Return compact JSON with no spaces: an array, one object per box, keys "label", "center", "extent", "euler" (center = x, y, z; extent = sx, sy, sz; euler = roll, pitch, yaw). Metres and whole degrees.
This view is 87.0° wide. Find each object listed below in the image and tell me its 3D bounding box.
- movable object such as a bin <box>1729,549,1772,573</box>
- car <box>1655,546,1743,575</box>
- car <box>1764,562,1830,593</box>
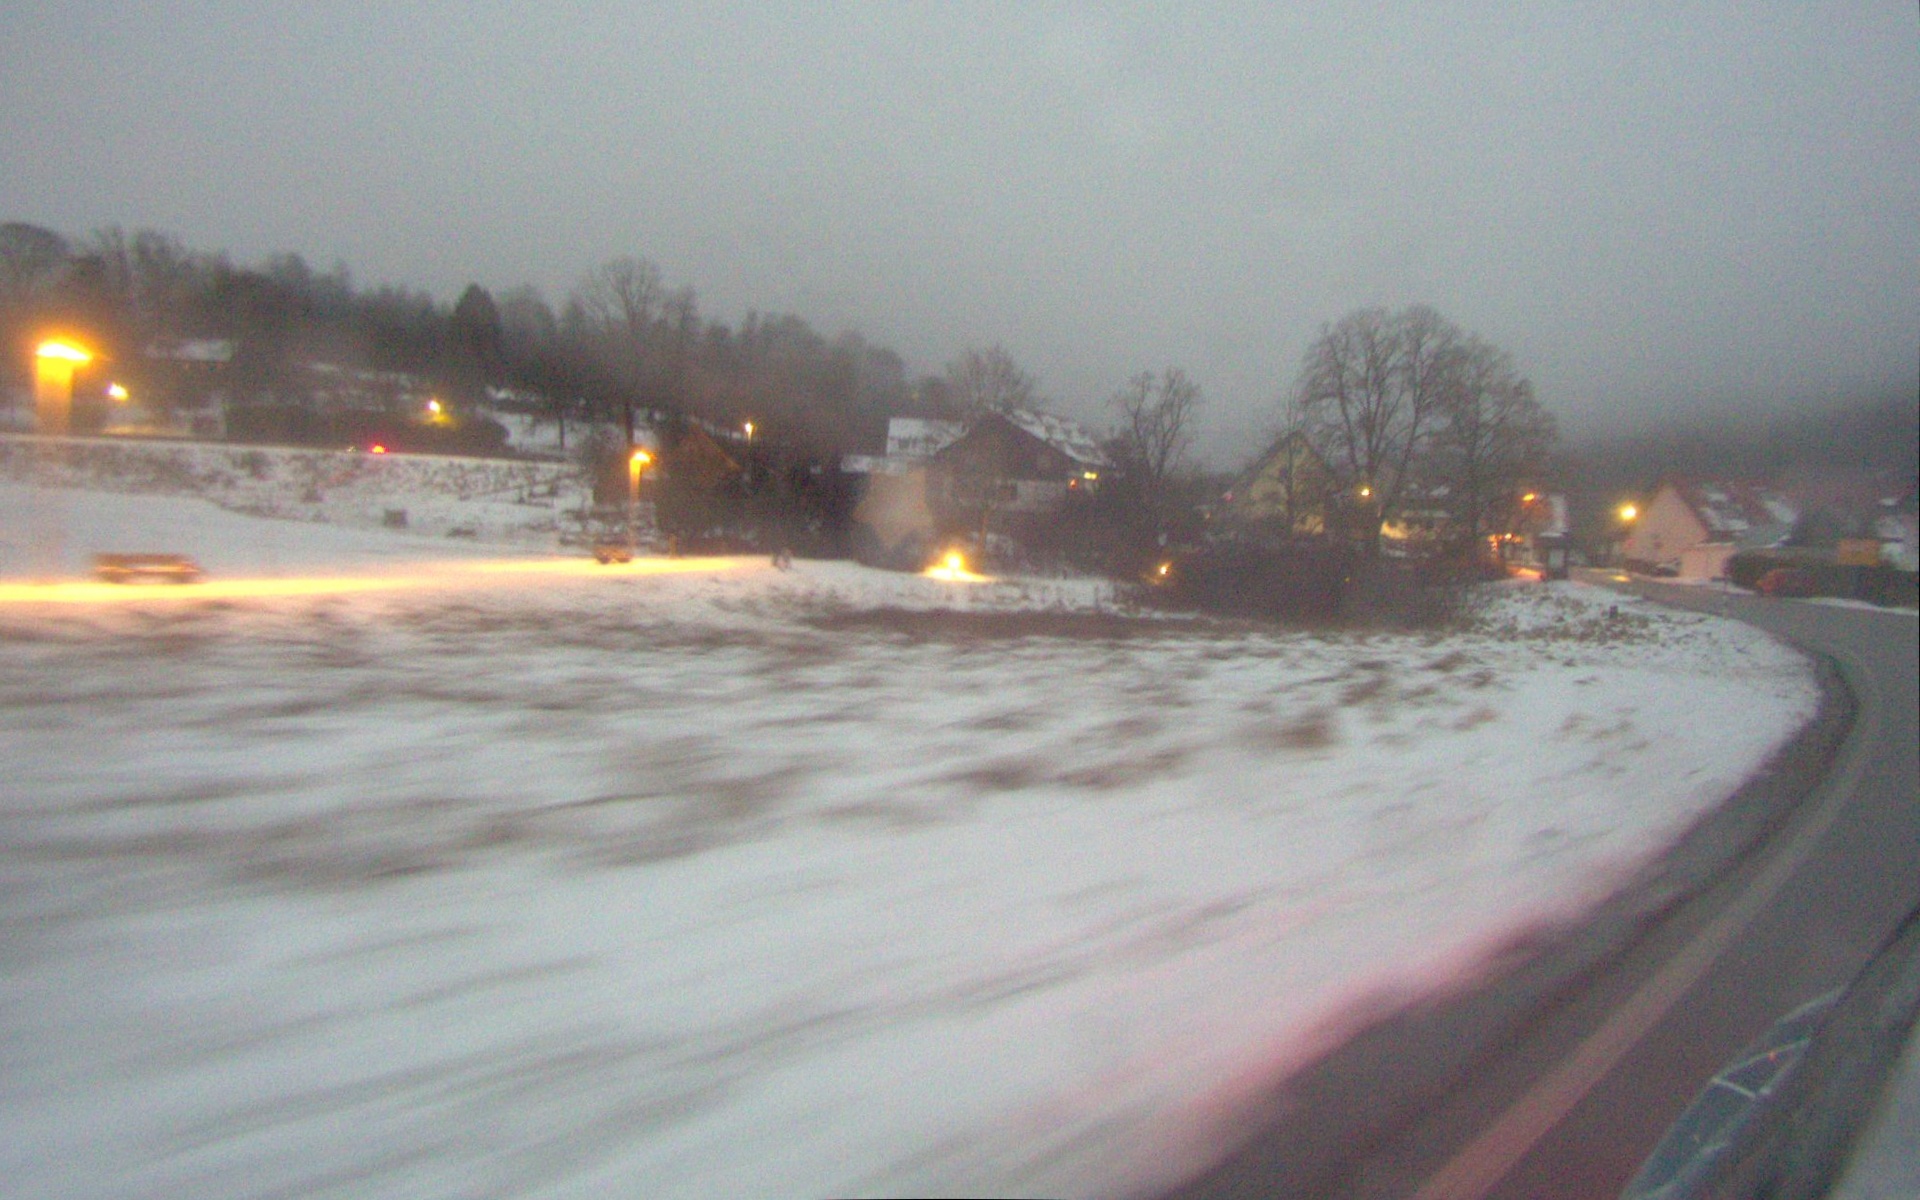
[{"label":"movable object such as a bin","center":[56.634,-2.800,72.503],"extent":[2.361,1.669,1.421],"euler":[0,3,41]},{"label":"car","center":[60.425,-3.275,82.824],"extent":[5.206,2.036,2.206],"euler":[3,7,17]},{"label":"car","center":[46.481,-1.296,56.277],"extent":[1.703,1.552,3.494],"euler":[3,4,20]}]
